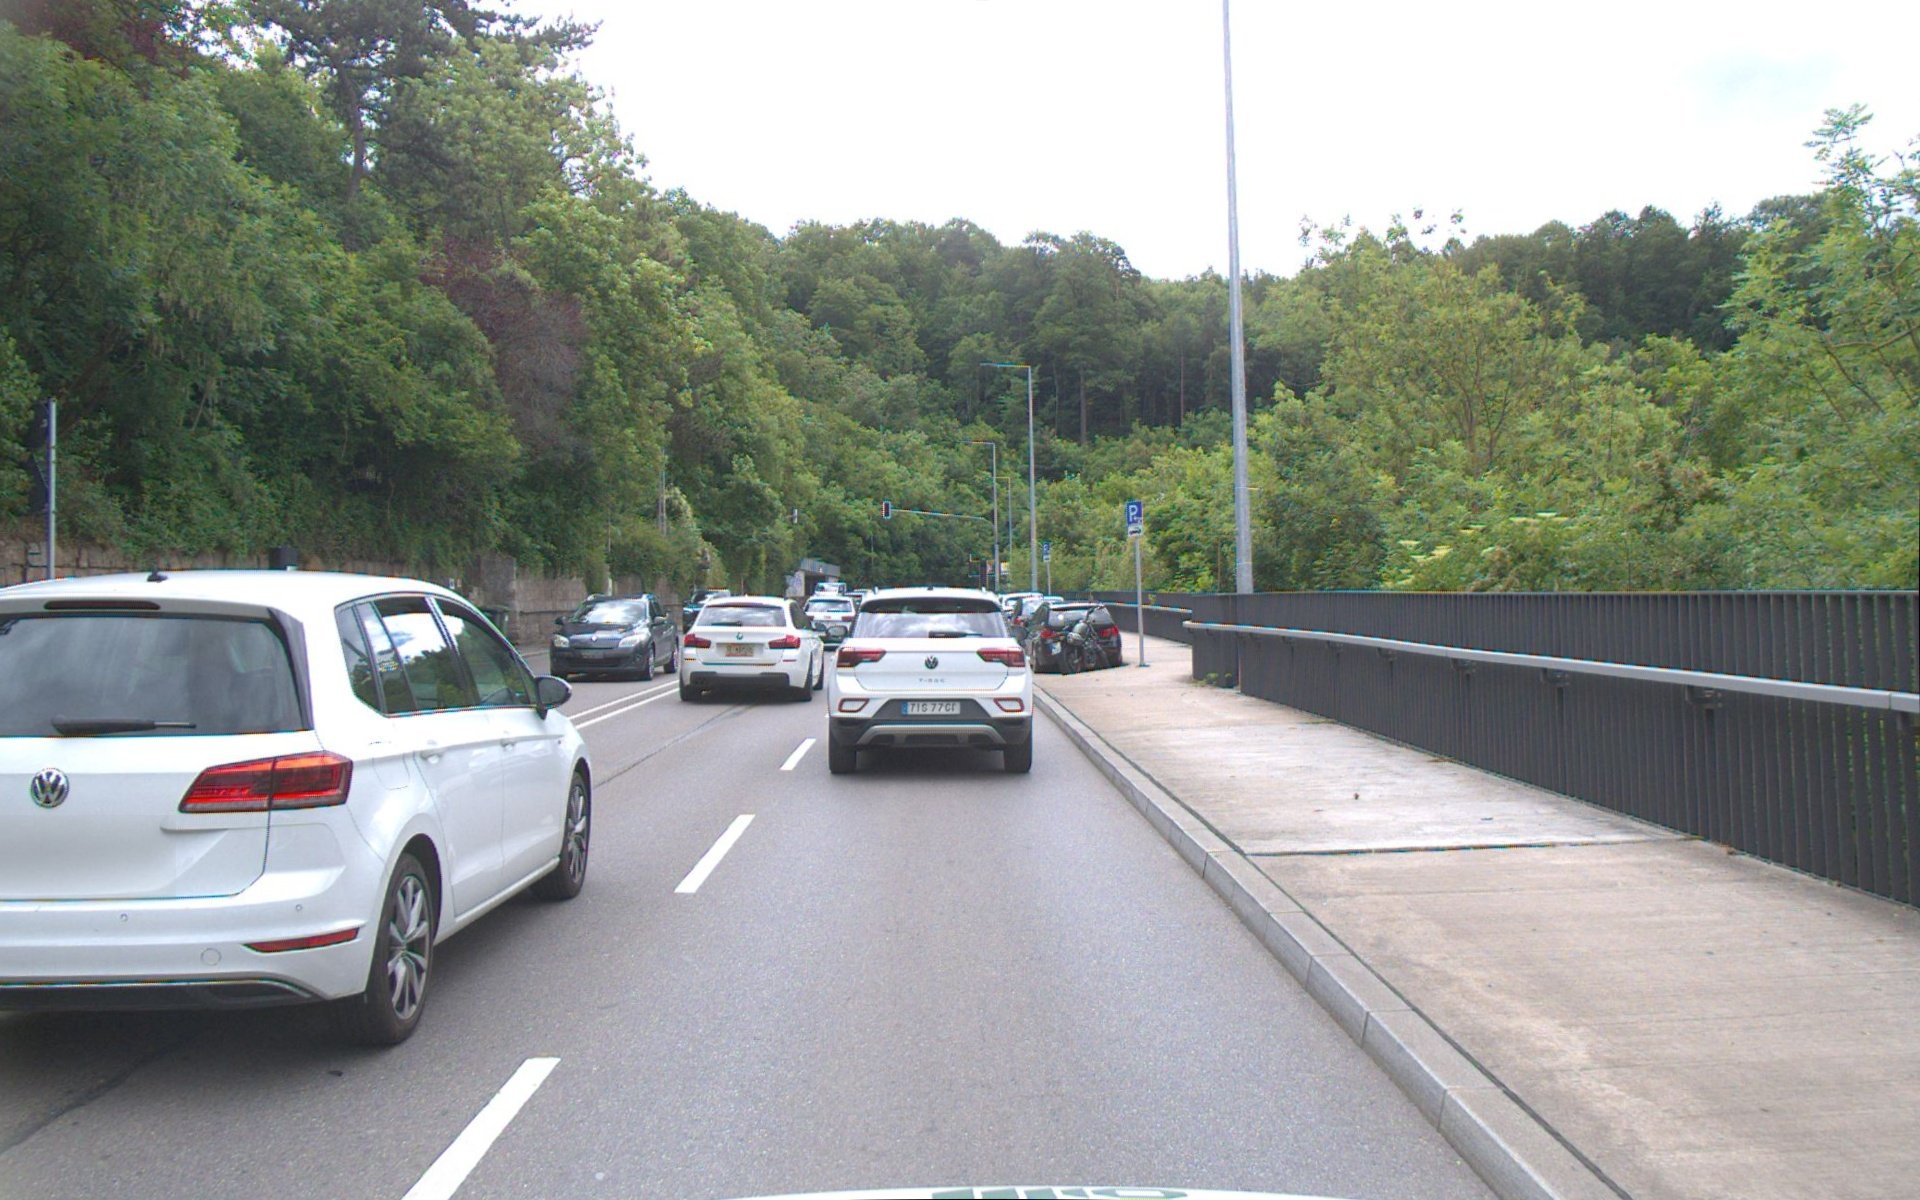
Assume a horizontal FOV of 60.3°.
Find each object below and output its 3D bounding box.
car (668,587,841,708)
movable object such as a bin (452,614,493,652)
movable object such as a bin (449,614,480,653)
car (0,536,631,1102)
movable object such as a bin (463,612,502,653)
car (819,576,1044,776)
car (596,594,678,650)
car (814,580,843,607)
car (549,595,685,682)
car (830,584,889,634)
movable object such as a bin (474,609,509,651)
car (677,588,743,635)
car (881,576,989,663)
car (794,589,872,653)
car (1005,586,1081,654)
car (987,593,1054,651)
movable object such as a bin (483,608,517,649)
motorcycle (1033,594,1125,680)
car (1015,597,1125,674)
[{"bbox_3d":[-2.924,0.627,24.491,1.953,1.585,4.681,1,0,0],"label":"car"},{"bbox_3d":[-12.612,0.862,42.831,0.898,0.962,0.593,0,0,-4],"label":"movable object such as a bin"},{"bbox_3d":[-12.647,0.847,42.231,0.660,0.983,0.543,0,0,-5],"label":"movable object such as a bin"},{"bbox_3d":[-2.588,0.607,6.765,1.685,1.581,4.274,0,0,-1],"label":"car"},{"bbox_3d":[-12.554,0.842,43.488,0.881,1.052,0.621,0,0,-5],"label":"movable object such as a bin"},{"bbox_3d":[-0.167,0.633,15.250,1.776,1.566,4.009,-1,-1,2],"label":"car"},{"bbox_3d":[-8.909,0.582,45.844,1.551,1.487,3.523,1,0,0],"label":"car"},{"bbox_3d":[-10.065,-0.499,126.828,1.882,2.040,5.355,0,0,-1],"label":"car"},{"bbox_3d":[-6.177,0.667,30.253,1.819,1.471,4.292,0,0,-4],"label":"car"},{"bbox_3d":[-3.717,0.327,61.819,1.953,1.771,3.999,0,0,-1],"label":"car"},{"bbox_3d":[-12.514,0.798,44.219,0.757,1.080,0.717,0,0,-5],"label":"movable object such as a bin"},{"bbox_3d":[-9.437,0.436,62.798,1.778,1.727,4.470,0,0,1],"label":"car"},{"bbox_3d":[-0.524,0.439,38.842,1.951,1.875,4.153,2,0,7],"label":"car"},{"bbox_3d":[-3.436,0.568,45.426,1.824,1.623,3.999,2,-1,-1],"label":"car"},{"bbox_3d":[2.139,0.499,43.455,1.626,1.599,4.254,-3,0,-1],"label":"car"},{"bbox_3d":[1.754,0.635,49.025,1.691,1.596,4.623,-1,0,-1],"label":"car"},{"bbox_3d":[-12.502,0.766,44.958,0.772,1.089,0.708,0,1,-5],"label":"movable object such as a bin"},{"bbox_3d":[2.206,0.650,30.308,0.754,1.493,2.502,0,0,27],"label":"motorcycle"},{"bbox_3d":[2.222,0.695,34.425,1.786,1.425,4.317,-3,0,-2],"label":"car"}]
